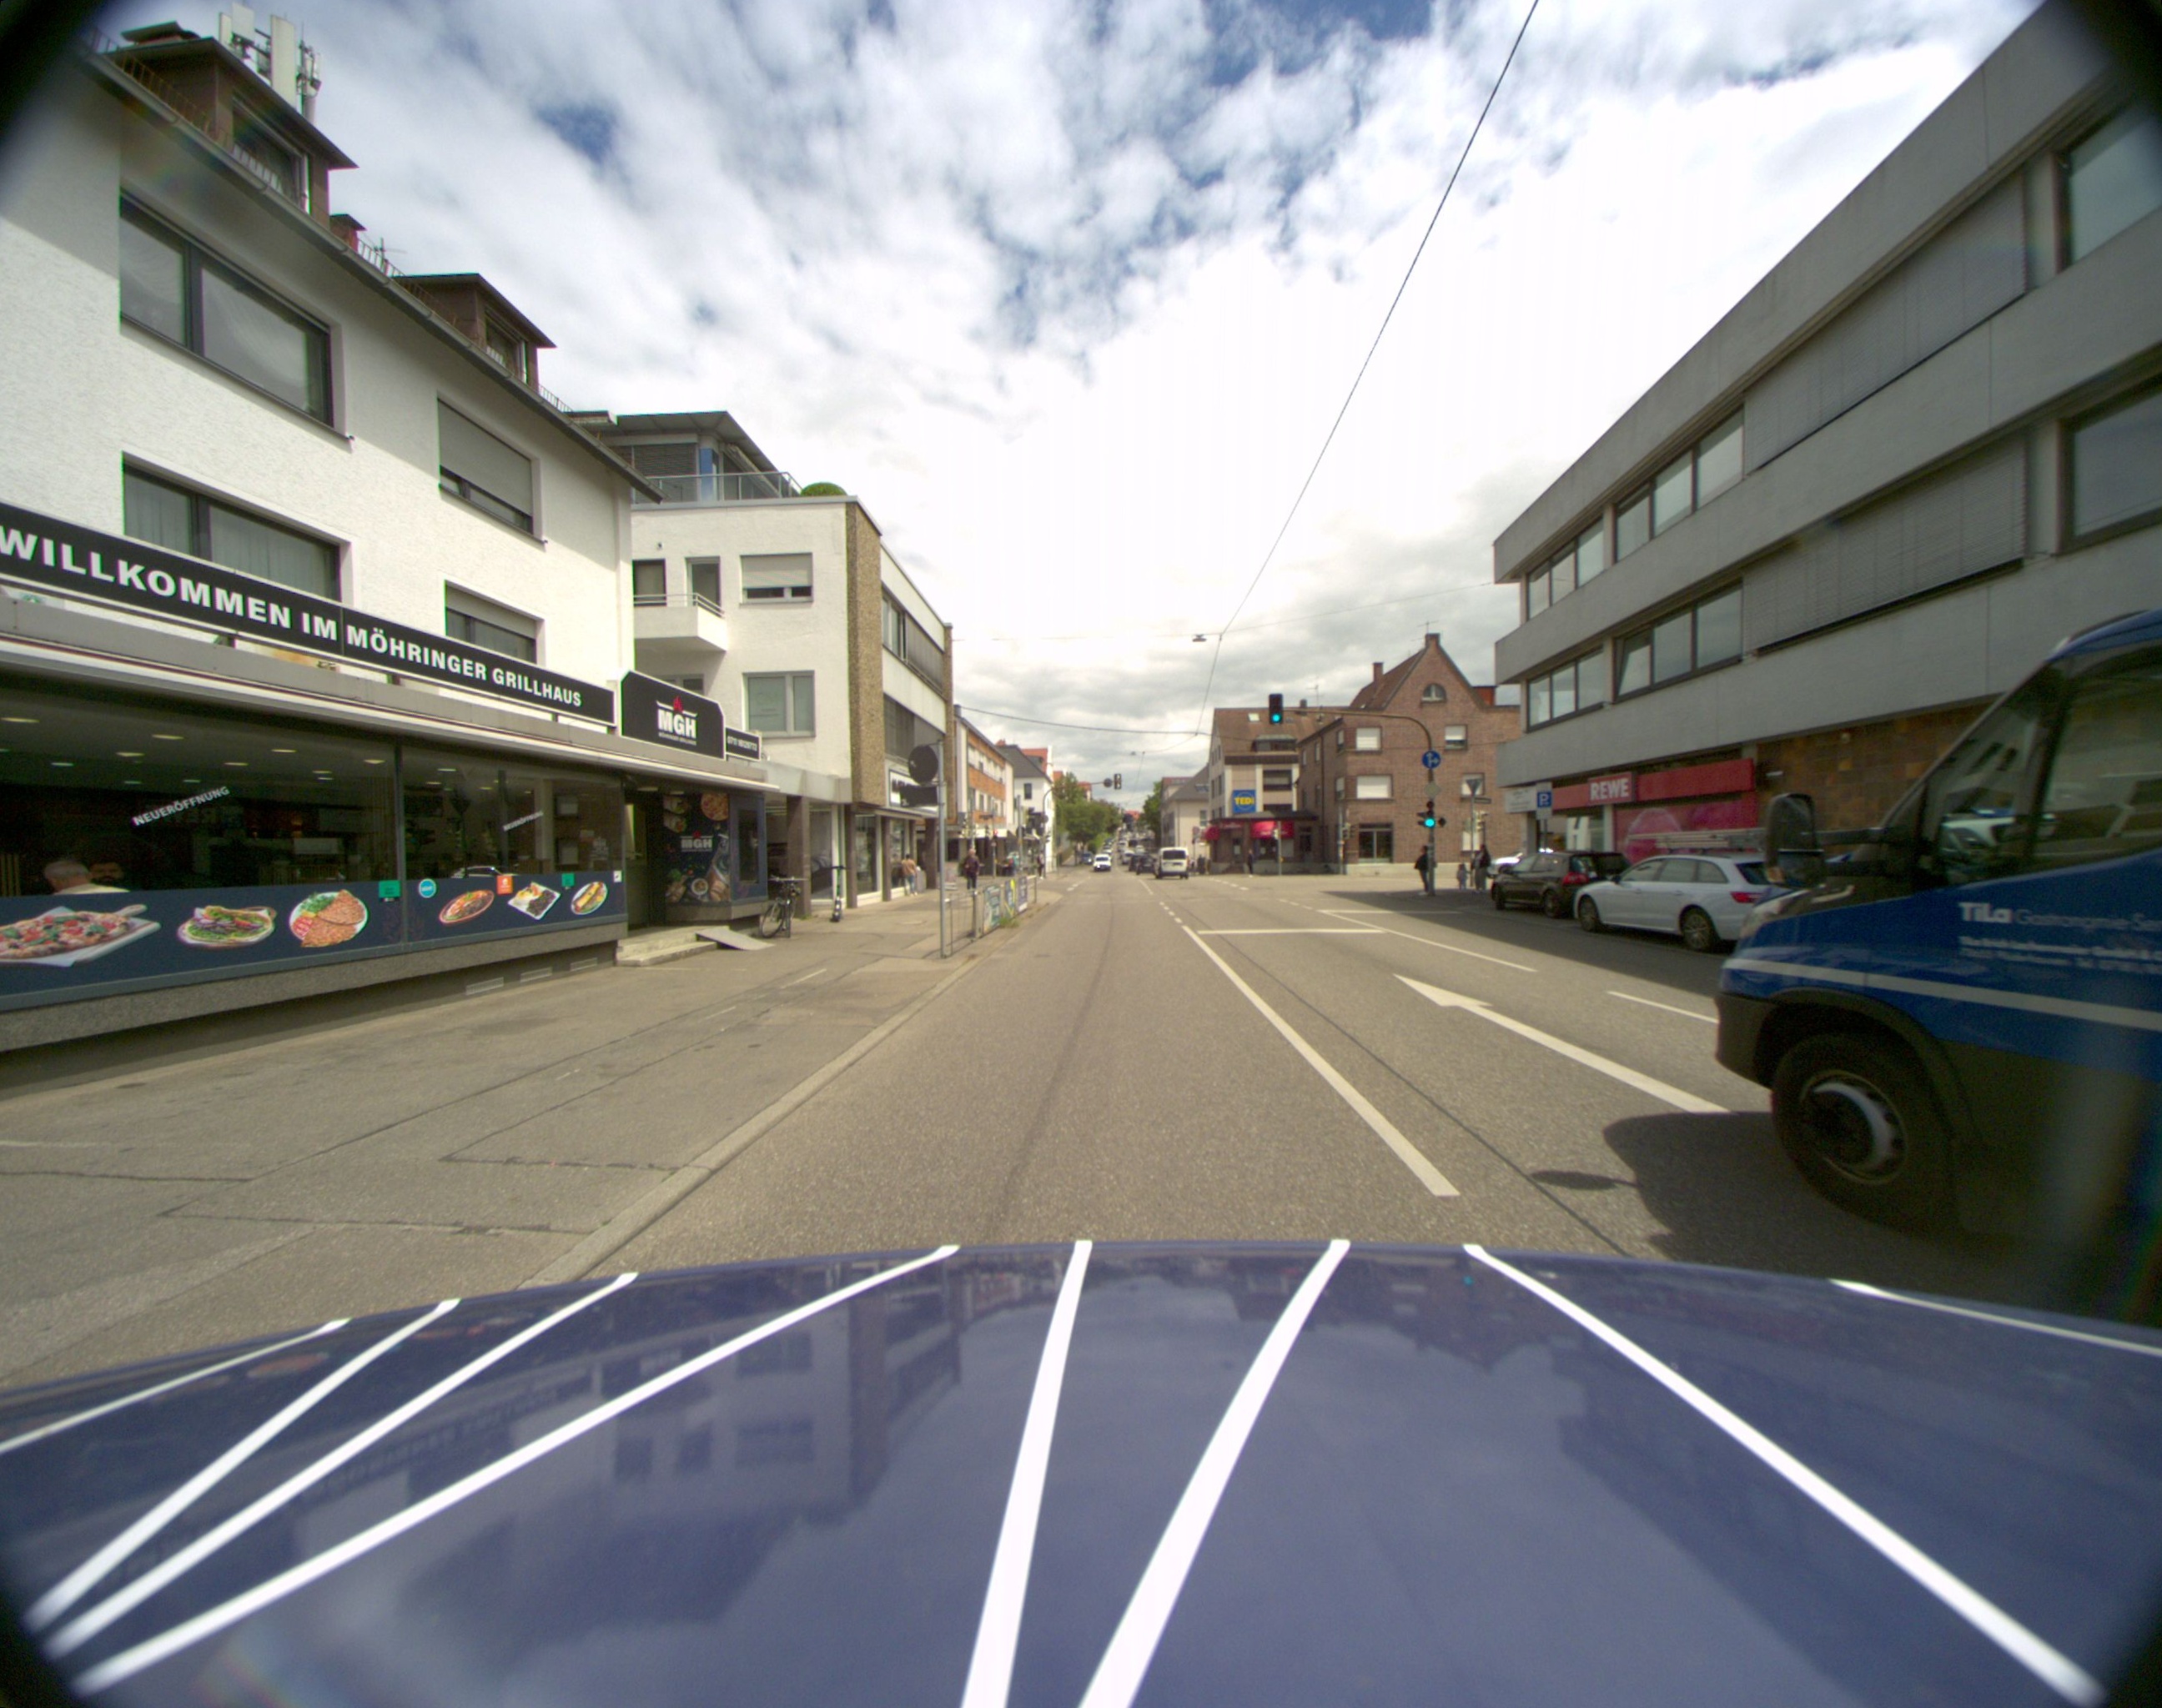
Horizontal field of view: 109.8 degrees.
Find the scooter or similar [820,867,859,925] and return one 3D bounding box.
[{"bbox_3d":[-5.602,0.946,17.652,0.690,1.260,1.184,0,1,-9],"label":"scooter or similar"}]

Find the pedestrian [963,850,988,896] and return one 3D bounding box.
[{"bbox_3d":[-3.858,0.678,27.808,0.796,1.661,0.807,0,1,2],"label":"pedestrian"}]

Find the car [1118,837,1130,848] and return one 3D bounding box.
[{"bbox_3d":[7.894,-2.161,139.134,1.981,1.985,5.028,0,0,1],"label":"car"}]

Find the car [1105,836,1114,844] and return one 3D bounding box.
[{"bbox_3d":[6.137,-2.960,162.821,1.998,1.654,4.000,0,0,3],"label":"car"}]

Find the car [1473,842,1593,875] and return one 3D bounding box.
[{"bbox_3d":[24.475,0.238,41.274,5.254,1.758,2.001,0,0,6],"label":"car"}]

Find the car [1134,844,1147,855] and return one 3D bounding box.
[{"bbox_3d":[10.149,-0.731,130.117,2.110,1.778,4.530,-1,1,2],"label":"car"}]

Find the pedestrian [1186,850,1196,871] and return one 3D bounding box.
[{"bbox_3d":[8.905,0.484,61.358,0.778,1.685,0.796,0,1,9],"label":"pedestrian"}]

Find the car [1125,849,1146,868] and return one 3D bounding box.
[{"bbox_3d":[5.655,0.423,79.799,1.953,1.866,4.876,0,1,2],"label":"car"}]

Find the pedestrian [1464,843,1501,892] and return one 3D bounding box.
[{"bbox_3d":[13.221,0.430,25.051,0.820,1.546,0.846,-2,1,8],"label":"pedestrian"}]

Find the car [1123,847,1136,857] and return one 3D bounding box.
[{"bbox_3d":[7.523,-0.276,118.544,1.756,1.478,3.971,0,0,1],"label":"car"}]

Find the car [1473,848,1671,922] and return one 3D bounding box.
[{"bbox_3d":[11.116,0.622,17.658,2.049,1.467,4.286,-2,0,4],"label":"car"}]

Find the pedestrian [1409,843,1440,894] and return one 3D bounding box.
[{"bbox_3d":[11.325,0.486,25.069,0.719,1.635,0.682,-2,1,8],"label":"pedestrian"}]

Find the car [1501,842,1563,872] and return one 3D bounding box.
[{"bbox_3d":[28.765,0.178,48.587,1.869,1.852,3.702,0,0,3],"label":"car"}]

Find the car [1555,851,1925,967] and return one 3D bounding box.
[{"bbox_3d":[10.016,0.705,12.269,2.048,1.436,4.954,-2,0,6],"label":"car"}]

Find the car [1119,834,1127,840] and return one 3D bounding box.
[{"bbox_3d":[9.846,-3.975,177.787,1.858,1.414,4.193,0,0,1],"label":"car"}]

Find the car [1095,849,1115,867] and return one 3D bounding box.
[{"bbox_3d":[2.594,0.418,81.625,1.999,1.797,4.765,-1,0,1],"label":"car"}]

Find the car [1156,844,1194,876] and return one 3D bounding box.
[{"bbox_3d":[5.619,0.329,45.735,1.950,1.810,4.279,0,0,3],"label":"car"}]

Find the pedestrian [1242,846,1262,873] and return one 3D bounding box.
[{"bbox_3d":[10.892,0.319,48.445,0.908,1.713,0.849,-1,1,-39],"label":"pedestrian"}]

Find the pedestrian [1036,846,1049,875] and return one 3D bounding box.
[{"bbox_3d":[-2.440,0.406,48.277,0.580,1.820,0.882,1,1,19],"label":"pedestrian"}]

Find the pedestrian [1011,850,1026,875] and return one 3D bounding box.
[{"bbox_3d":[-3.917,0.535,47.627,0.779,1.517,0.819,0,1,5],"label":"pedestrian"}]

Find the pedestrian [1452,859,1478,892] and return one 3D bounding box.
[{"bbox_3d":[12.750,0.714,25.220,0.560,1.051,0.663,-2,1,9],"label":"pedestrian"}]

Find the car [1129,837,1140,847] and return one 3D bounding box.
[{"bbox_3d":[11.457,-2.473,161.881,2.110,2.109,4.765,-1,1,2],"label":"car"}]

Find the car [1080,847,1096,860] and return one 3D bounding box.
[{"bbox_3d":[0.936,-0.032,101.326,1.998,1.654,4.000,0,0,3],"label":"car"}]

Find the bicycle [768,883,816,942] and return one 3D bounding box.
[{"bbox_3d":[-5.663,1.121,14.938,0.476,1.022,1.635,0,0,-6],"label":"bicycle"}]

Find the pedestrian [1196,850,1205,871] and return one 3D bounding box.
[{"bbox_3d":[9.614,0.500,61.209,0.683,1.706,0.878,0,1,9],"label":"pedestrian"}]

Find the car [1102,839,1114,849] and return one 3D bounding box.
[{"bbox_3d":[4.614,-1.704,129.457,1.998,1.654,4.000,0,0,3],"label":"car"}]

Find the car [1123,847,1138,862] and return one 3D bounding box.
[{"bbox_3d":[6.531,-0.003,100.426,1.819,1.919,4.113,0,0,3],"label":"car"}]

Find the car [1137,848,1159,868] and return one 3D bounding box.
[{"bbox_3d":[5.669,0.351,64.330,1.681,1.626,2.833,0,0,1],"label":"car"}]

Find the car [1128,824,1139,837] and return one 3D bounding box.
[{"bbox_3d":[14.514,-6.600,210.933,2.428,3.409,7.637,0,0,1],"label":"car"}]

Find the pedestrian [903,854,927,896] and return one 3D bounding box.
[{"bbox_3d":[-5.862,0.732,26.860,0.681,1.490,0.720,0,1,2],"label":"pedestrian"}]

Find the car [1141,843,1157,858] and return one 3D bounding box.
[{"bbox_3d":[9.893,-0.461,111.042,2.110,2.109,4.766,-1,1,2],"label":"car"}]
